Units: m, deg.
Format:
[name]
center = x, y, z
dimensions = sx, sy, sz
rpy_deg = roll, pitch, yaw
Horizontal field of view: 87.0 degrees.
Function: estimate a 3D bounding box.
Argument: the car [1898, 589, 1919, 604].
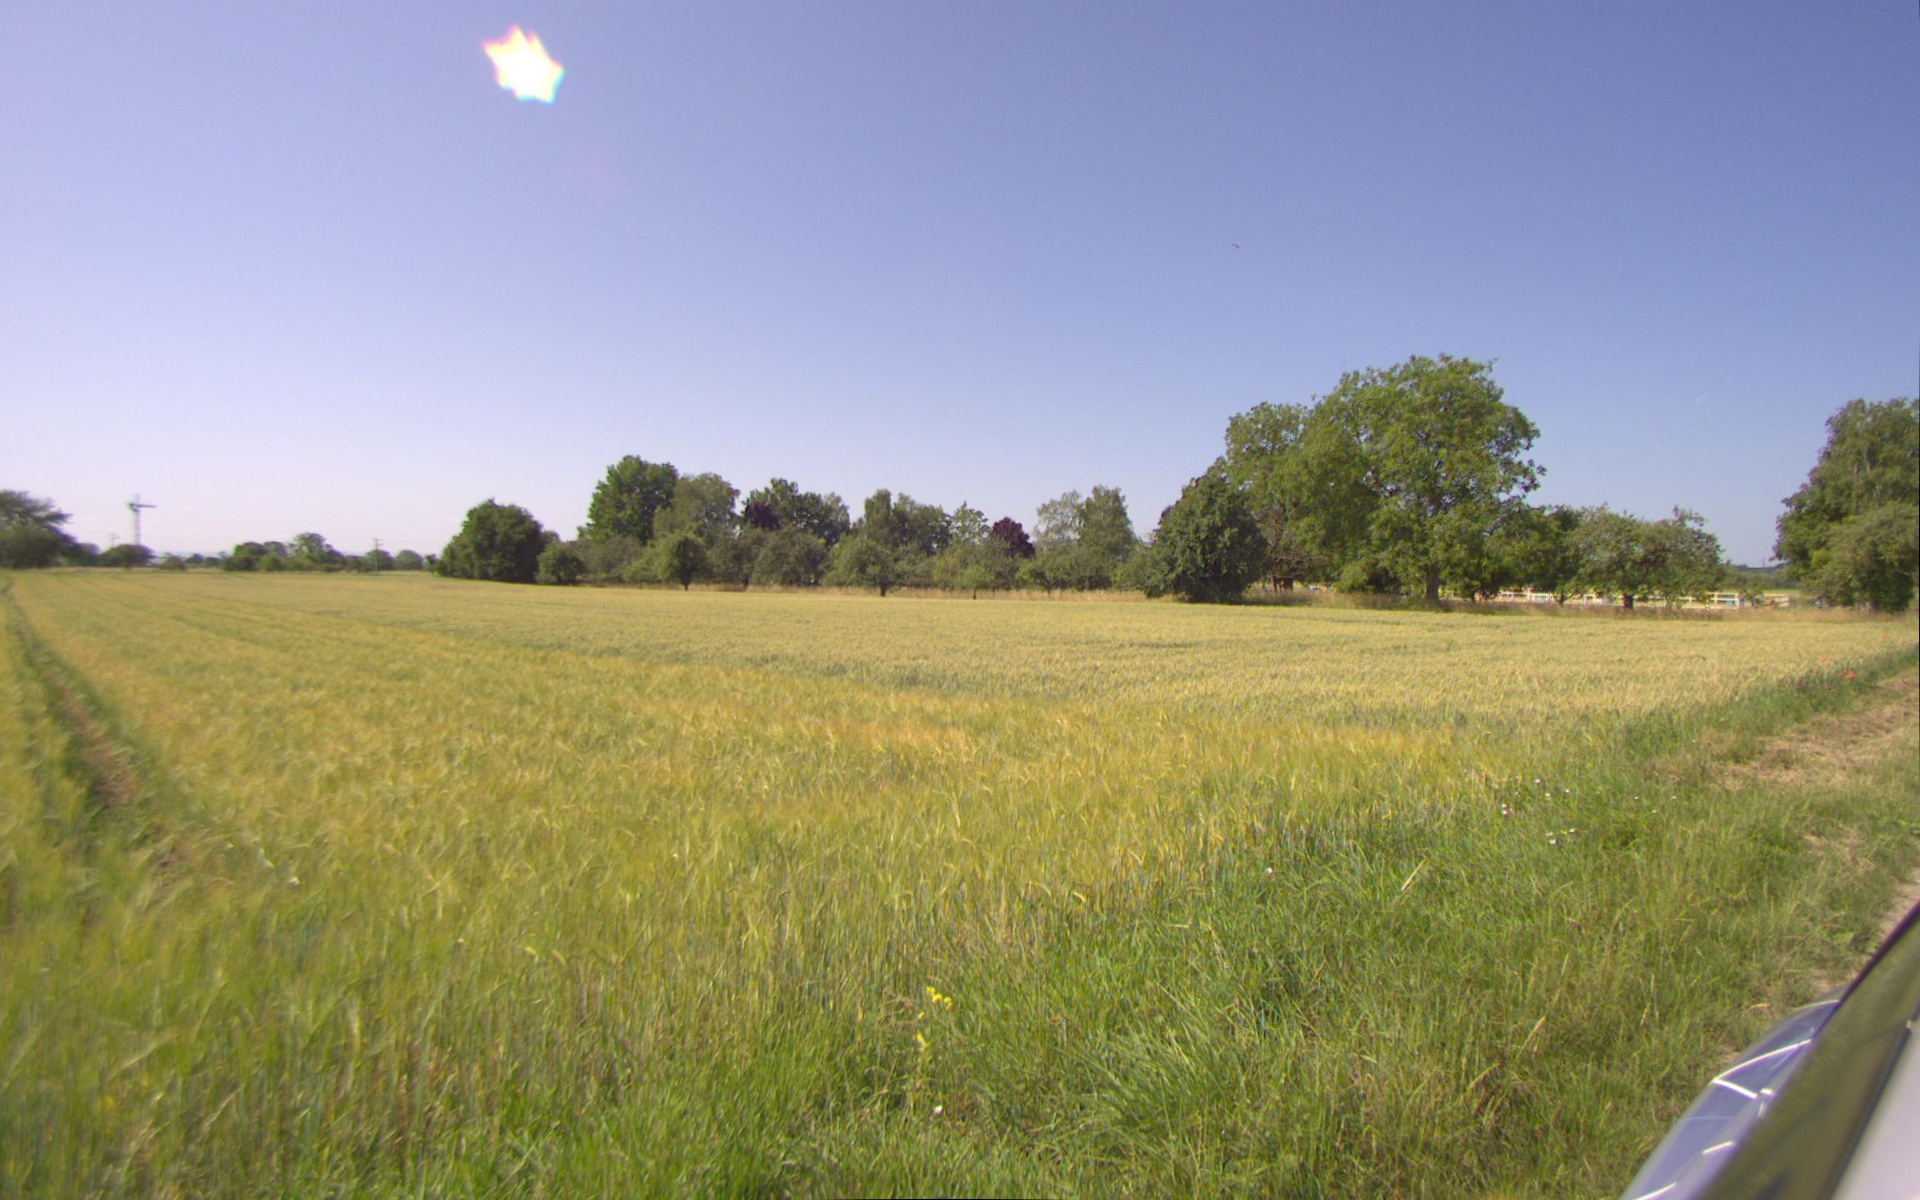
[car]
center = 86.088, -0.343, 91.471
dimensions = 1.715, 1.336, 3.690
rpy_deg = 1, 1, 40
